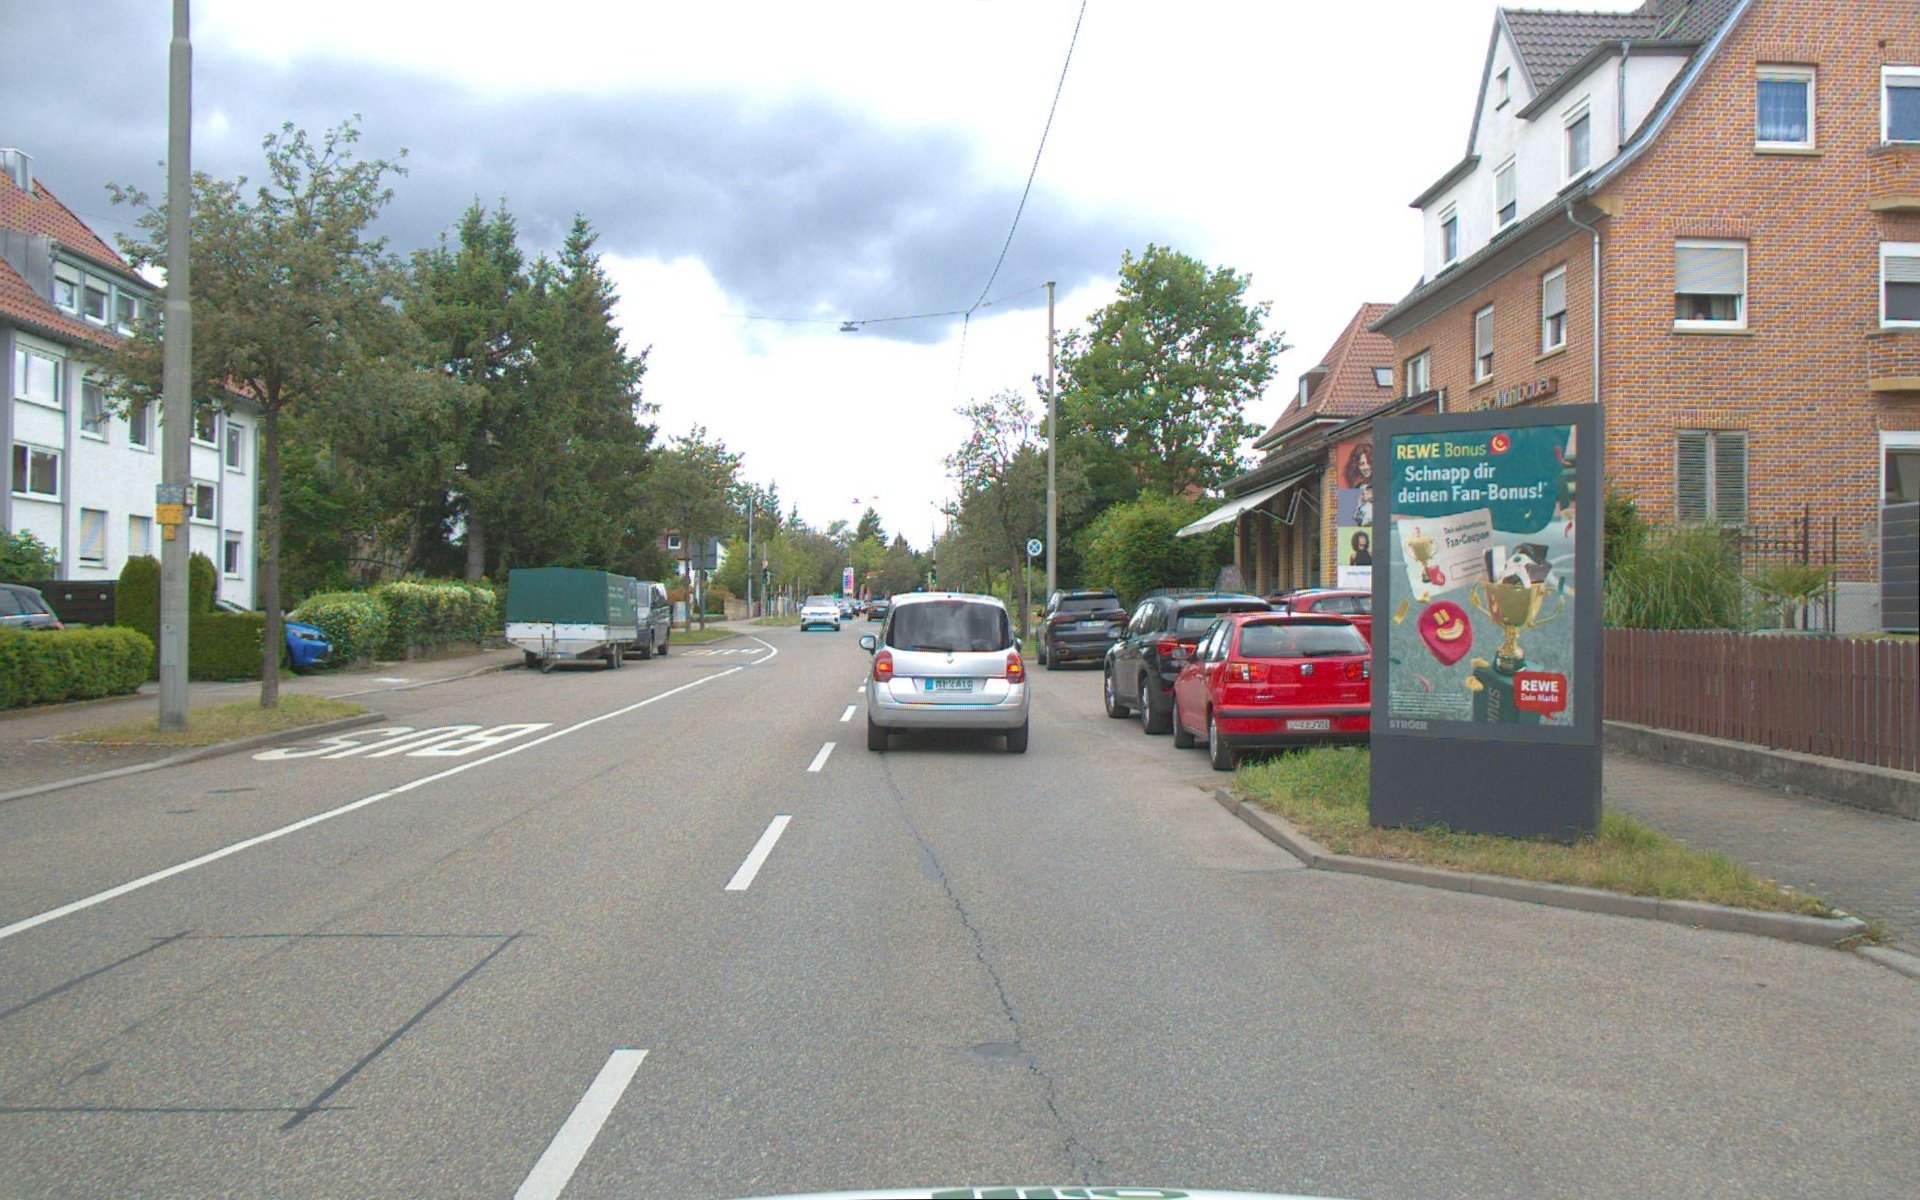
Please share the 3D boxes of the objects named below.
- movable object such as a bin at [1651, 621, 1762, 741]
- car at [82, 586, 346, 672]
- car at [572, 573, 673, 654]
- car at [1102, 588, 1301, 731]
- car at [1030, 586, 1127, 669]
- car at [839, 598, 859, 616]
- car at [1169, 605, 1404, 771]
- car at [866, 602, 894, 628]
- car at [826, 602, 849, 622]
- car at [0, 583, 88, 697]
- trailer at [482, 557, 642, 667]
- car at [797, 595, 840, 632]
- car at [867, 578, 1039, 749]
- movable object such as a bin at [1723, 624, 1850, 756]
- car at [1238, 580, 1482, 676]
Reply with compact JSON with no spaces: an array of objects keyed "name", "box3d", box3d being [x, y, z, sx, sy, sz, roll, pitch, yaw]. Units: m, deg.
[{"name":"movable object such as a bin","box3d":[7.221,0.770,16.023,0.760,1.123,0.691,0,0,-2]},{"name":"car","box3d":[-13.074,0.527,29.188,3.916,1.361,1.573,2,-2,-12]},{"name":"car","box3d":[-8.820,0.372,43.550,1.850,1.956,4.558,2,-1,-3]},{"name":"car","box3d":[2.901,0.674,20.671,1.629,1.592,4.095,1,0,-4]},{"name":"car","box3d":[2.651,0.627,37.694,1.776,1.773,3.998,0,-1,-2]},{"name":"car","box3d":[-9.661,0.610,143.553,1.688,1.436,3.996,2,-1,-5]},{"name":"car","box3d":[3.089,0.775,16.306,1.628,1.417,3.668,-1,0,1]},{"name":"car","box3d":[-5.365,0.998,111.390,1.792,1.705,3.573,0,-1,-1]},{"name":"car","box3d":[-9.359,0.911,126.195,1.688,1.436,3.996,2,-1,-5]},{"name":"car","box3d":[-13.121,0.481,21.026,1.838,1.442,4.000,2,-1,1]},{"name":"trailer","box3d":[-8.556,0.302,36.156,2.266,2.123,5.869,2,-1,-3]},{"name":"car","box3d":[-6.653,0.665,77.373,1.869,1.646,3.994,1,-1,-6]},{"name":"car","box3d":[-0.086,0.652,17.833,1.597,1.584,3.999,2,-1,-1]},{"name":"movable object such as a bin","box3d":[7.249,0.779,14.527,0.760,1.123,0.691,0,0,-2]},{"name":"car","box3d":[7.266,0.497,30.217,3.915,1.523,1.806,-3,0,-10]}]
